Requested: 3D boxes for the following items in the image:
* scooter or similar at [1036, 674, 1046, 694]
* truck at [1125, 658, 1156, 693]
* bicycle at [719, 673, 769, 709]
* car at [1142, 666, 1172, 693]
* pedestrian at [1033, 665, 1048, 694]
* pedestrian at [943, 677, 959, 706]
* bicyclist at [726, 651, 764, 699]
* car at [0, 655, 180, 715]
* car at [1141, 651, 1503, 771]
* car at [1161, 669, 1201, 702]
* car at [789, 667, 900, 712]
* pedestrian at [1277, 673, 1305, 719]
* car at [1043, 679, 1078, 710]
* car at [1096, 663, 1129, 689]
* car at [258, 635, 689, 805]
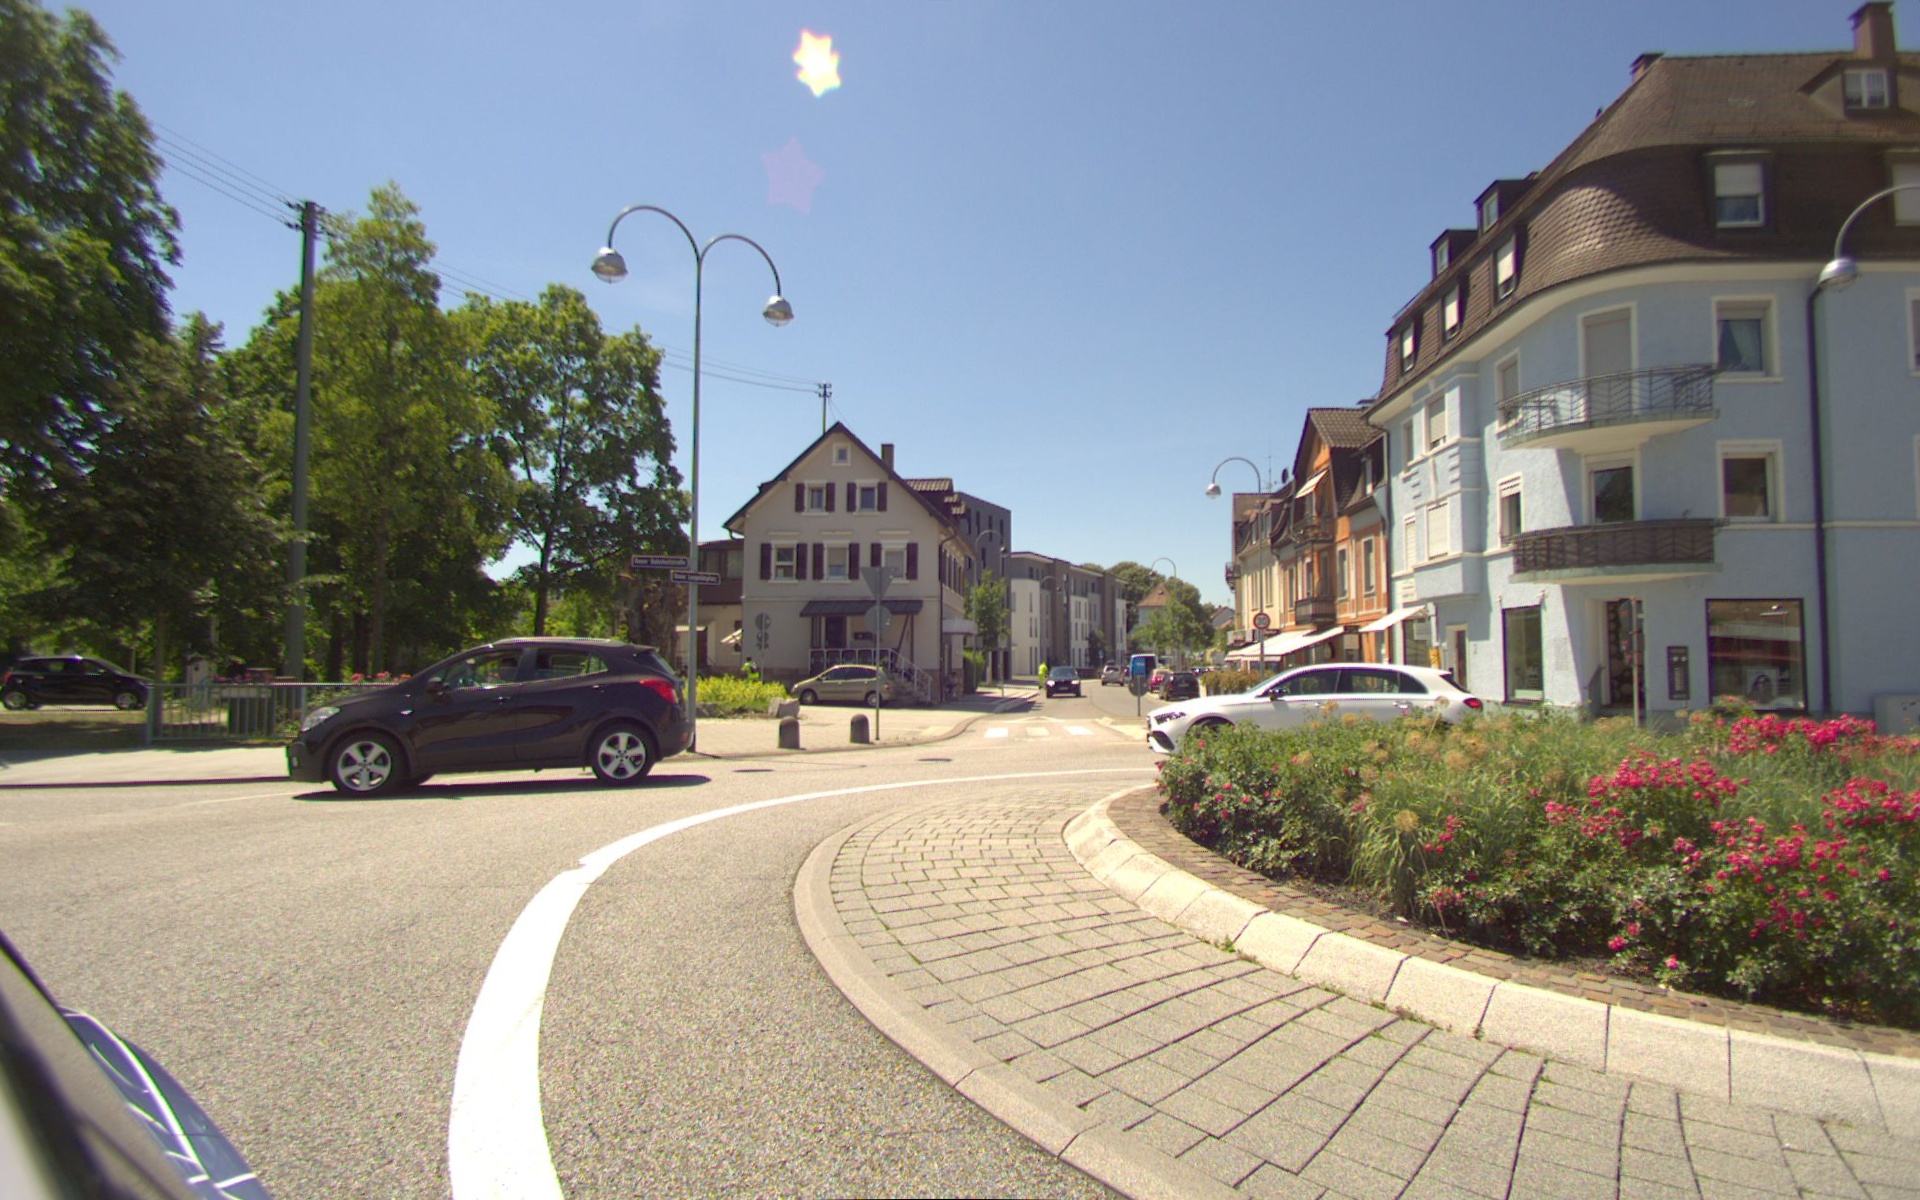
[{"bbox_3d":[5.707,5.951,71.446,0.522,1.383,1.342,0,-4,11],"label":"scooter or similar"},{"bbox_3d":[12.913,5.415,72.552,1.939,2.388,4.324,-2,-4,9],"label":"truck"},{"bbox_3d":[-7.898,3.317,36.928,1.853,1.164,0.799,0,-6,44],"label":"bicycle"},{"bbox_3d":[12.491,5.039,64.413,1.664,1.558,3.583,-2,-4,9],"label":"car"},{"bbox_3d":[5.678,5.604,71.382,0.911,2.046,0.897,0,-4,12],"label":"pedestrian"},{"bbox_3d":[-0.415,4.121,45.804,0.676,1.296,0.580,0,-4,3],"label":"pedestrian"},{"bbox_3d":[-7.861,2.725,36.988,0.799,1.647,1.063,9,-6,-44],"label":"bicyclist"},{"bbox_3d":[-25.271,2.440,29.313,3.931,1.614,1.848,2,-4,-27],"label":"car"},{"bbox_3d":[4.711,1.541,13.748,4.249,1.392,1.923,-3,-7,15],"label":"car"},{"bbox_3d":[11.107,4.280,51.017,1.664,1.558,3.935,-2,-4,9],"label":"car"},{"bbox_3d":[-4.451,3.470,39.354,3.953,1.608,1.790,1,-5,8],"label":"car"},{"bbox_3d":[11.237,3.250,34.364,0.620,1.536,0.803,-2,-4,3],"label":"pedestrian"},{"bbox_3d":[5.654,5.253,56.589,1.734,1.558,3.584,-2,-4,8],"label":"car"},{"bbox_3d":[12.892,6.408,85.571,1.916,2.124,4.420,0,-4,20],"label":"car"},{"bbox_3d":[-5.233,1.320,11.538,4.096,1.574,2.005,-1,-7,-15],"label":"car"}]
